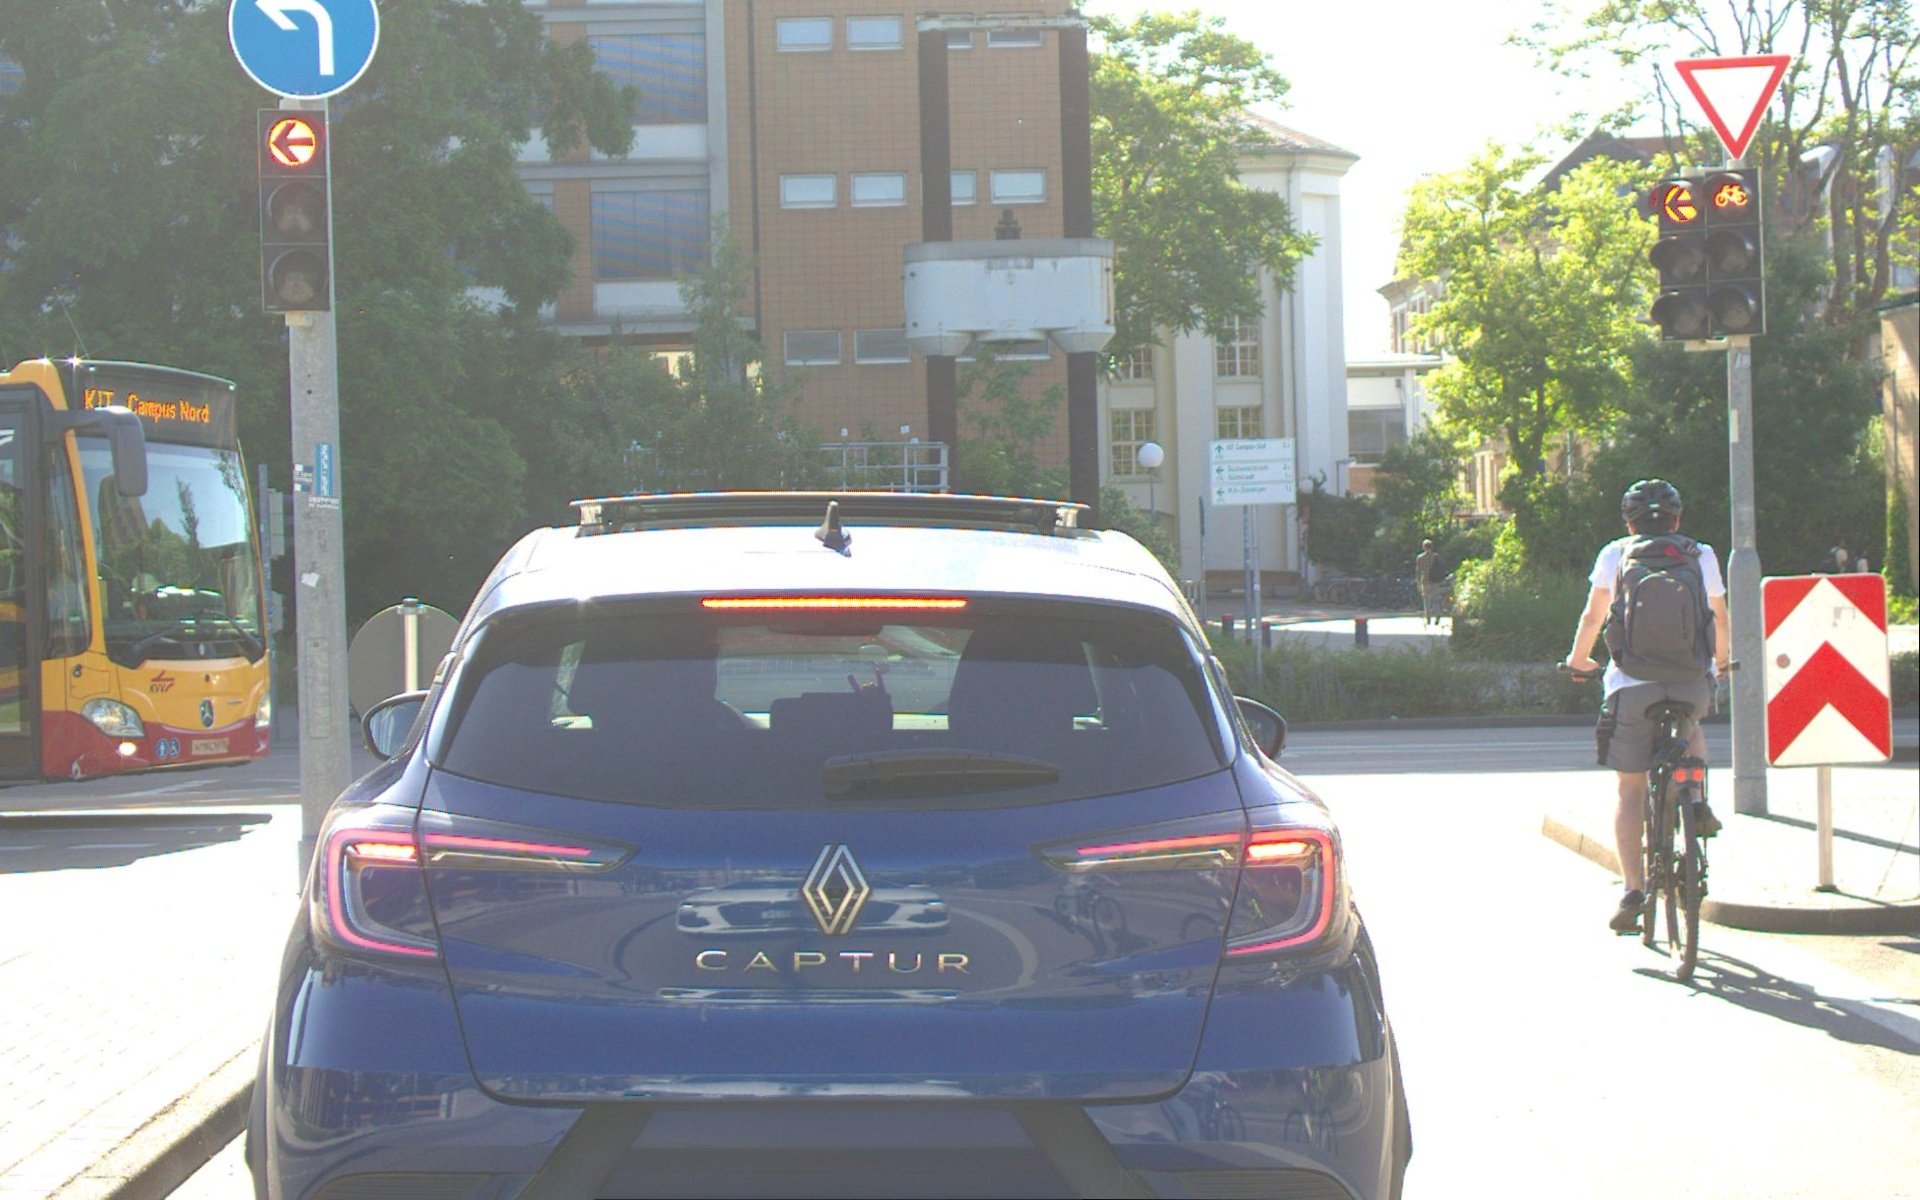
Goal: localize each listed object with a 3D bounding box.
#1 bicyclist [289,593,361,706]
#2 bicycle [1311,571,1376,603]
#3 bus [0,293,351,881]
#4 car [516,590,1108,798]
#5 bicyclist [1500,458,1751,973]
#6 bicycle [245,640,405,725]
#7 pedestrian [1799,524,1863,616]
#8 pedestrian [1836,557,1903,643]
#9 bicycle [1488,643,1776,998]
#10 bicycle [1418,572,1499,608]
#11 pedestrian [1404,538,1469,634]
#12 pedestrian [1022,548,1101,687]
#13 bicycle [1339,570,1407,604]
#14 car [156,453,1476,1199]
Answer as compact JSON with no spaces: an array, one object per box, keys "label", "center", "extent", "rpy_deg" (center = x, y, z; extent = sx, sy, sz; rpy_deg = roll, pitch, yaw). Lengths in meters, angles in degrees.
[{"label":"bicyclist","center":[-8.122,0.633,43.964],"extent":[0.637,1.407,0.649],"rpy_deg":[-1,-2,-37]},{"label":"bicycle","center":[11.060,-0.379,99.206],"extent":[1.771,0.890,0.765],"rpy_deg":[-1,1,0]},{"label":"bus","center":[-10.696,-0.005,24.004],"extent":[12.431,3.558,3.248],"rpy_deg":[-1,1,15]},{"label":"car","center":[-1.022,0.665,24.892],"extent":[3.988,1.369,1.759],"rpy_deg":[-1,1,9]},{"label":"bicyclist","center":[2.380,0.399,12.384],"extent":[0.676,1.779,0.940],"rpy_deg":[1,0,-2]},{"label":"bicycle","center":[-8.111,1.050,43.945],"extent":[1.862,1.004,0.700],"rpy_deg":[-1,-2,-36]},{"label":"pedestrian","center":[16.686,-0.571,65.880],"extent":[0.953,1.735,0.984],"rpy_deg":[-1,1,0]},{"label":"pedestrian","center":[17.305,-0.006,65.417],"extent":[0.936,1.607,1.176],"rpy_deg":[-1,1,0]},{"label":"bicycle","center":[2.383,0.747,12.390],"extent":[0.615,1.134,1.826],"rpy_deg":[0,1,-2]},{"label":"bicycle","center":[12.029,-0.235,83.040],"extent":[1.770,0.820,0.766],"rpy_deg":[-1,1,-10]},{"label":"pedestrian","center":[10.082,-0.300,72.785],"extent":[1.156,2.007,1.164],"rpy_deg":[-1,1,0]},{"label":"pedestrian","center":[1.376,0.230,46.317],"extent":[0.932,1.849,0.807],"rpy_deg":[-1,1,9]},{"label":"bicycle","center":[11.398,-0.349,94.842],"extent":[1.771,0.895,0.765],"rpy_deg":[-1,1,0]},{"label":"car","center":[-0.248,0.594,6.625],"extent":[1.794,1.649,3.853],"rpy_deg":[0,1,-2]}]
